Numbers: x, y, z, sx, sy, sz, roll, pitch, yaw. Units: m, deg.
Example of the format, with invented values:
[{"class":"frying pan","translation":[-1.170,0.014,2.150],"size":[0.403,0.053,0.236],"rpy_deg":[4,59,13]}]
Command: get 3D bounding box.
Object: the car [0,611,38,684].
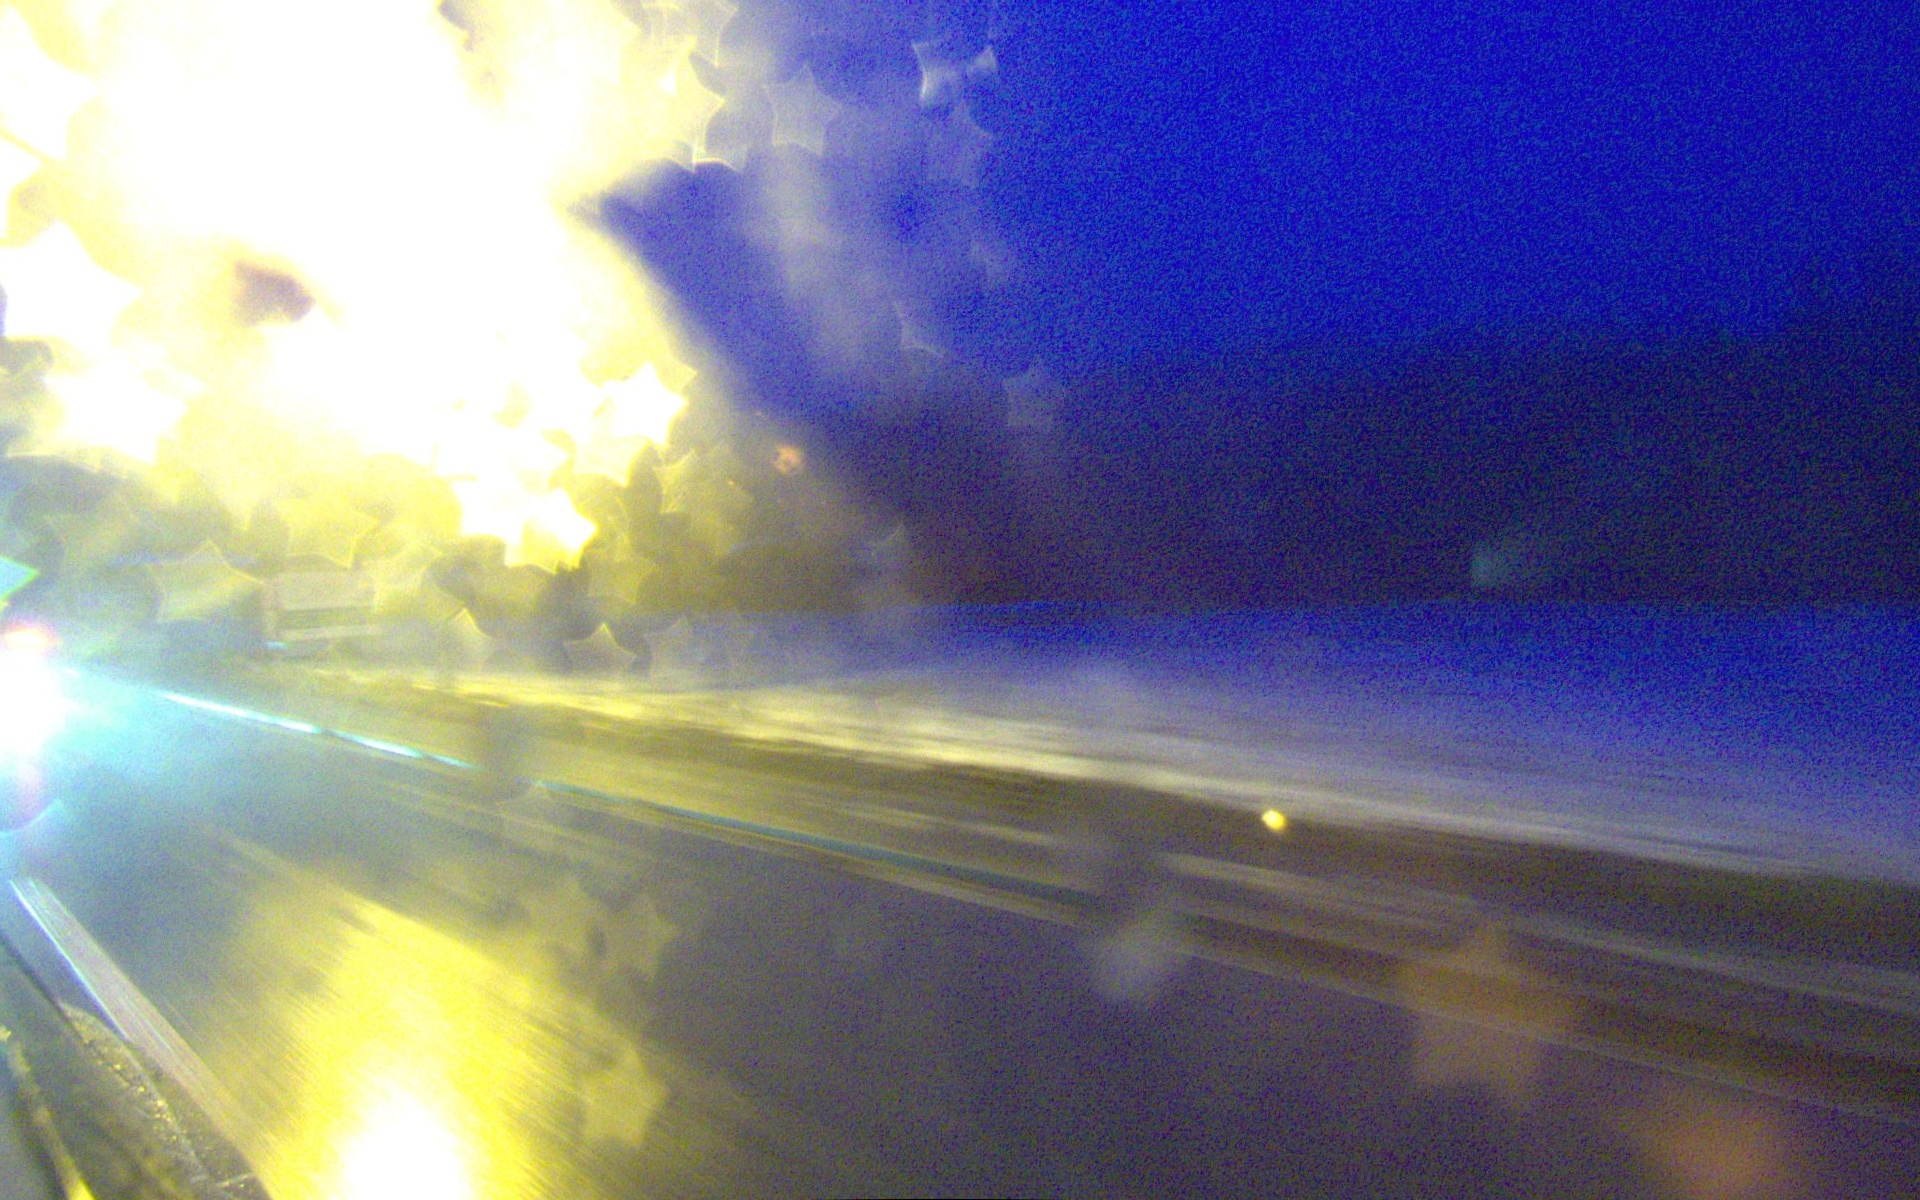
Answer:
[{"class":"car","translation":[-22.124,1.039,22.674],"size":[3.866,1.503,1.782],"rpy_deg":[0,1,42]}]
